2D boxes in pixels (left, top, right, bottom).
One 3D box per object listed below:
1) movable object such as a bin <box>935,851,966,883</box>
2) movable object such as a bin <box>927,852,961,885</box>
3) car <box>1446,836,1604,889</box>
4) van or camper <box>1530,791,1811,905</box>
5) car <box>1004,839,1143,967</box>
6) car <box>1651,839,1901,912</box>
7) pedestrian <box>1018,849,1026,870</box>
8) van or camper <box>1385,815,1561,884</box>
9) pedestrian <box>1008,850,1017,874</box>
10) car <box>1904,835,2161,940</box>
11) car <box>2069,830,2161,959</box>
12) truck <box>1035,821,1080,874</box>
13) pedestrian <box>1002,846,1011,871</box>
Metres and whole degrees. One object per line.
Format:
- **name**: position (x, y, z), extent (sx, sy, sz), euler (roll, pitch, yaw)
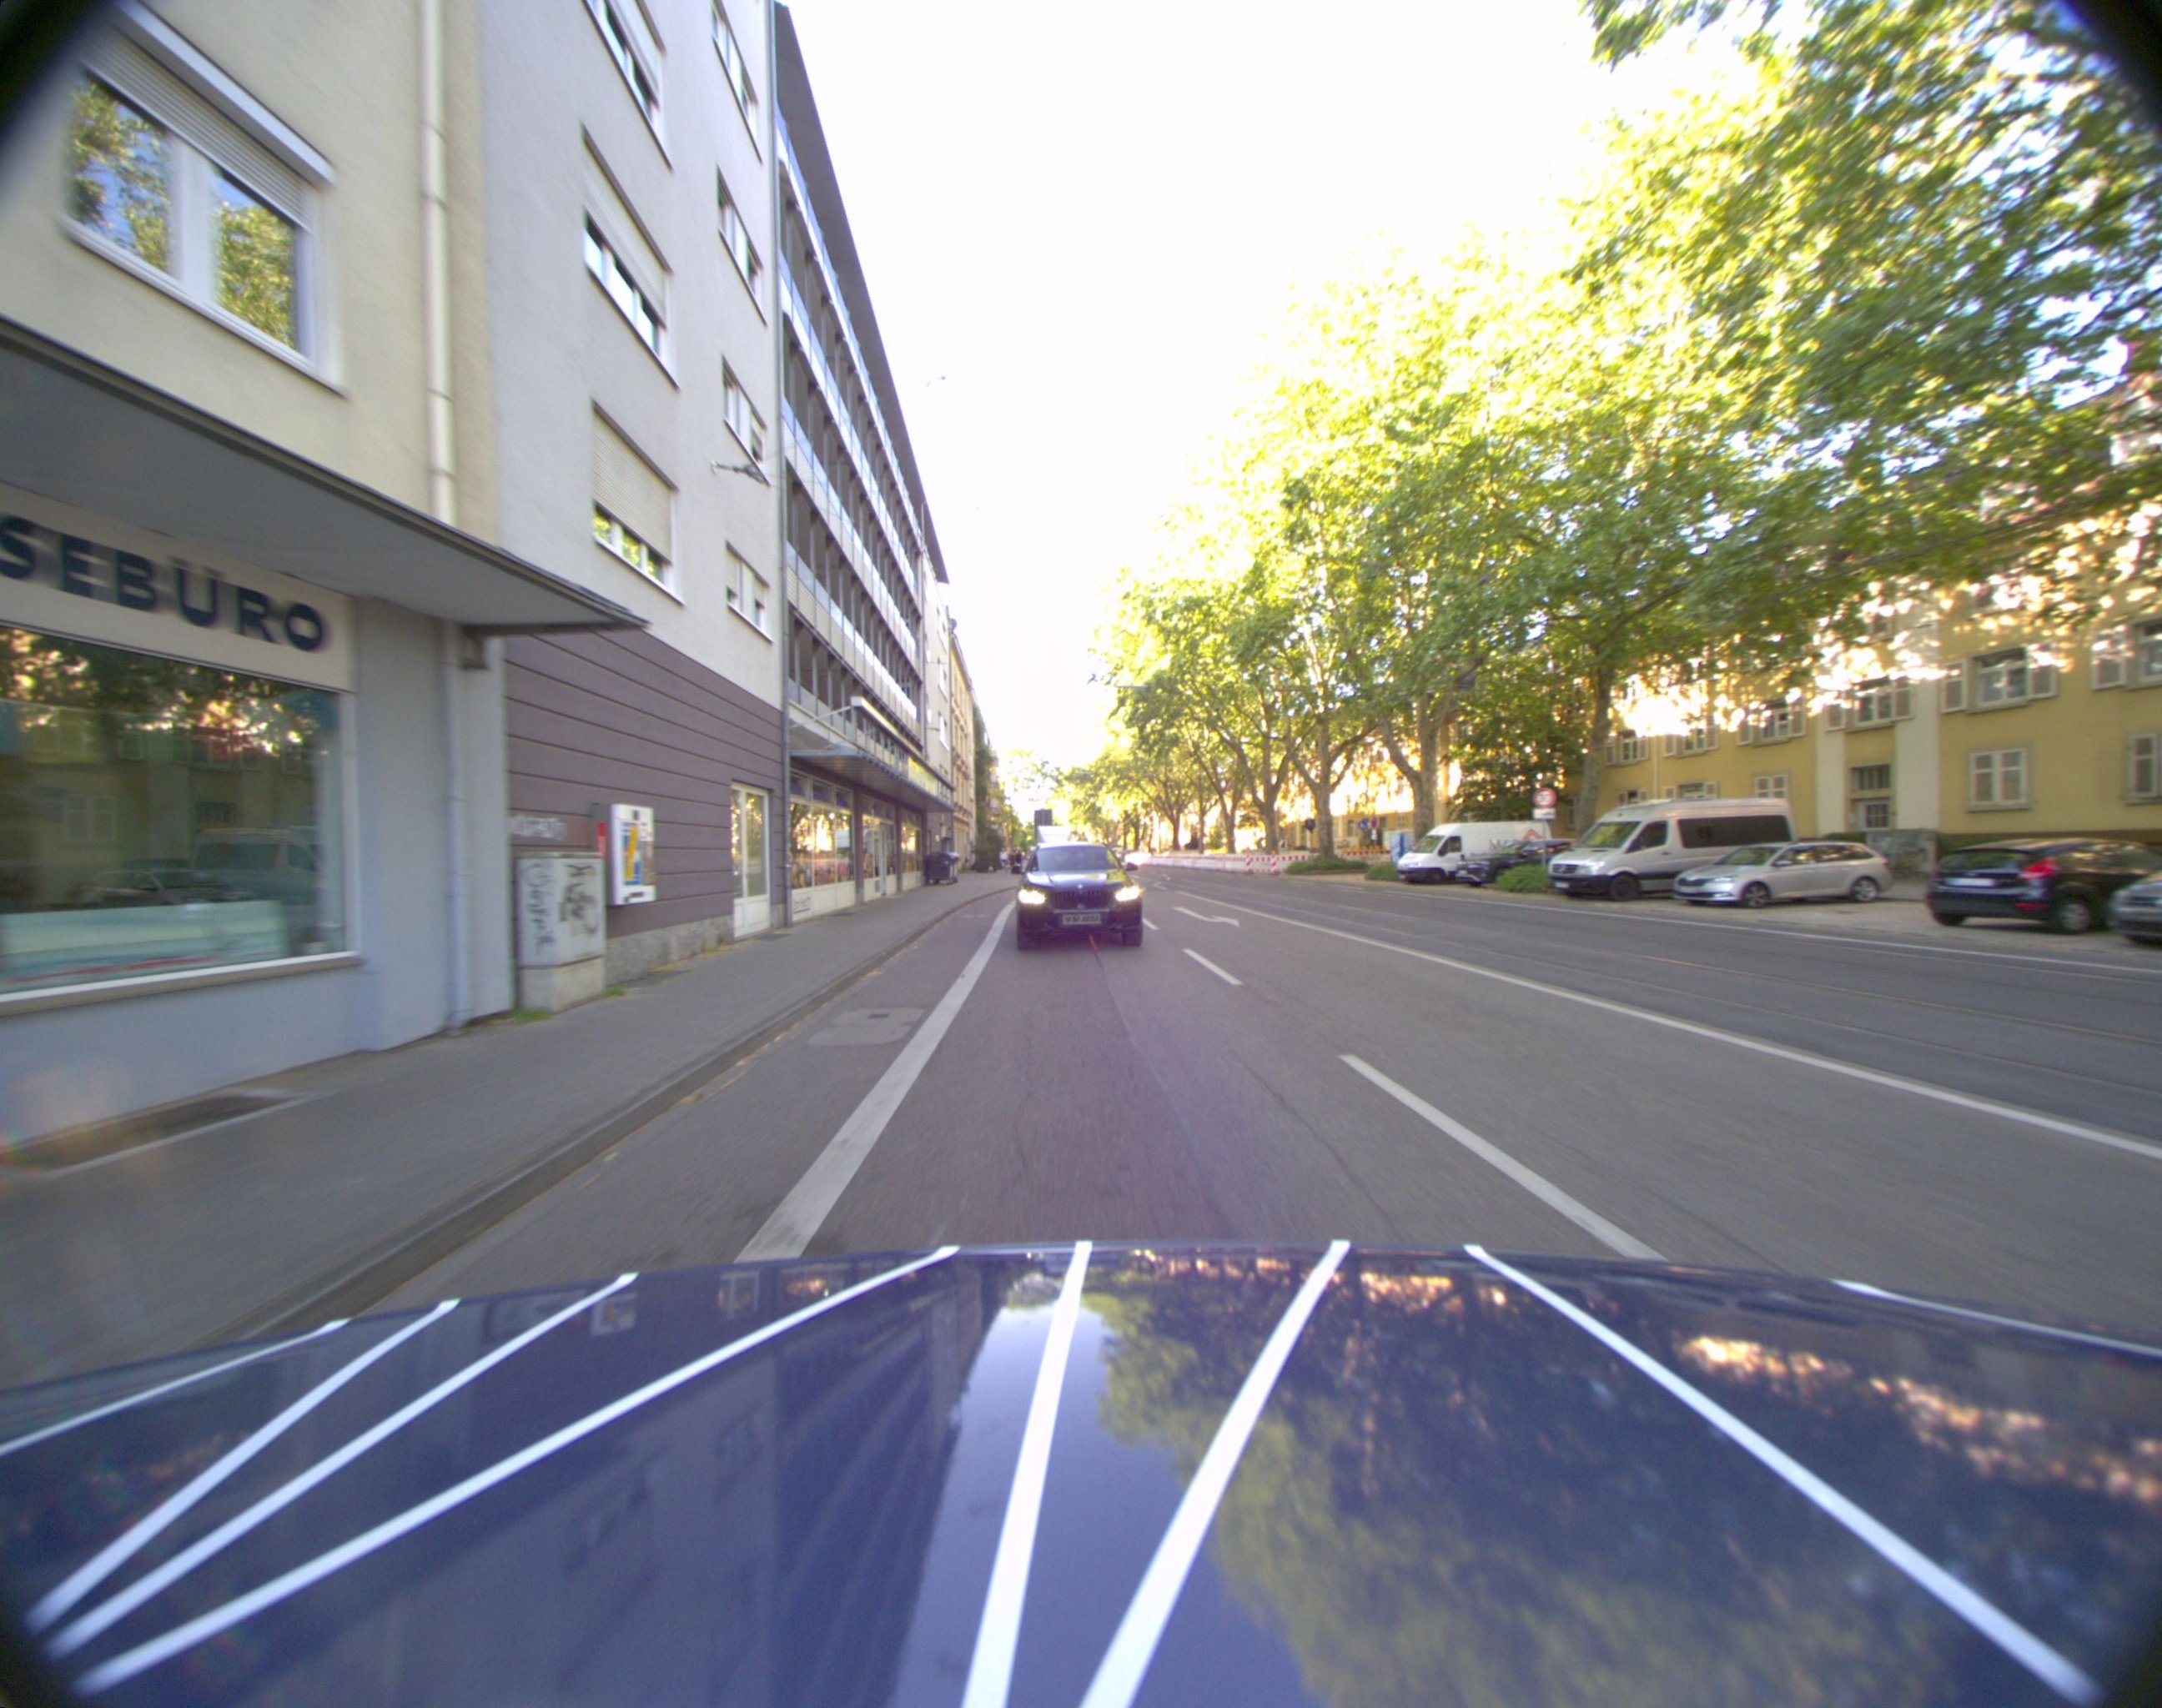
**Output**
- **movable object such as a bin**: position (-5.980, 0.573, 34.881), extent (1.204, 1.402, 1.371), euler (-1, 1, -1)
- **movable object such as a bin**: position (-5.898, 0.617, 32.884), extent (1.204, 1.402, 1.371), euler (-1, 1, -1)
- **car**: position (15.447, 0.270, 26.568), extent (4.540, 1.624, 1.693), euler (-2, 2, -1)
- **van or camper**: position (15.633, -0.181, 20.371), extent (5.932, 2.634, 2.155), euler (-2, 2, -2)
- **car**: position (-0.130, 0.651, 13.209), extent (1.930, 1.742, 4.682), euler (-2, 1, -1)
- **car**: position (16.031, 0.464, 17.667), extent (4.276, 1.438, 1.693), euler (-2, 2, -1)
- **pedestrian**: position (-4.142, 0.398, 53.428), extent (0.541, 1.437, 0.630), euler (-1, 1, -1)
- **van or camper**: position (15.230, -0.194, 29.727), extent (5.764, 2.371, 2.155), euler (-2, 2, -2)
- **pedestrian**: position (-4.808, 0.549, 53.442), extent (0.541, 1.662, 0.513), euler (-1, 1, -1)
- **car**: position (16.211, 0.484, 12.353), extent (3.861, 1.438, 1.693), euler (-2, 2, -1)
- **car**: position (15.791, 0.456, 9.675), extent (4.081, 1.610, 1.844), euler (-2, 2, -1)
- **truck**: position (-1.559, -0.424, 48.319), extent (2.344, 3.096, 5.209), euler (-3, 2, -6)
- **pedestrian**: position (-5.014, 0.321, 51.187), extent (0.541, 1.662, 0.630), euler (-1, 1, -1)
